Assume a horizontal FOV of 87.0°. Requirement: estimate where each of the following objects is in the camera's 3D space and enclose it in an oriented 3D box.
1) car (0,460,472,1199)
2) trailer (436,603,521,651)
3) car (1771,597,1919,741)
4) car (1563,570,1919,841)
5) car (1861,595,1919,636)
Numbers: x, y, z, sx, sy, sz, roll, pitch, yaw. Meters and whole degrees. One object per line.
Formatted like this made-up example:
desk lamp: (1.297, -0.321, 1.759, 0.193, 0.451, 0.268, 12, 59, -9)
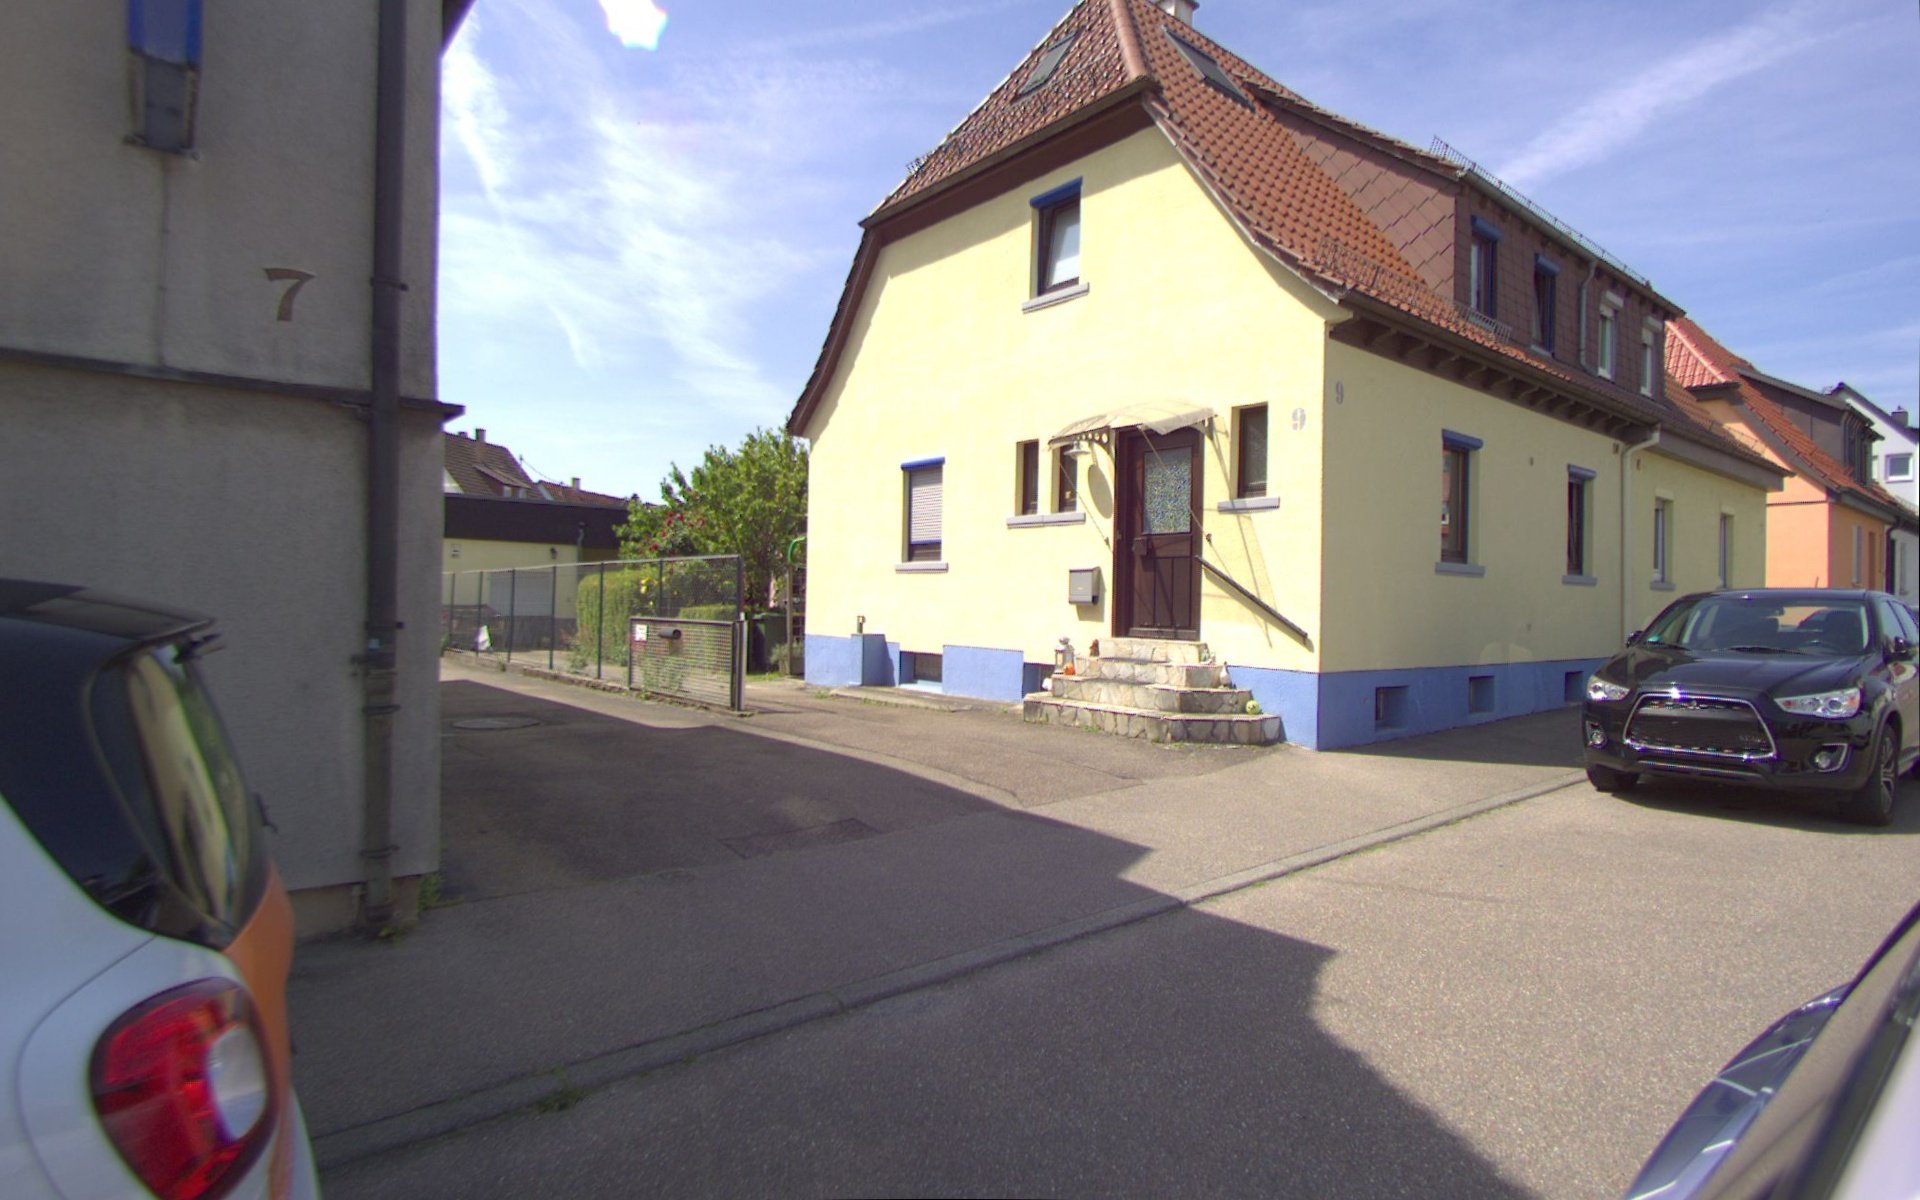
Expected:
car: (-2.238, 0.663, 0.851, 2.986, 1.578, 1.677, 0, 0, -40)
trailer: (-11.367, 0.620, 23.843, 1.293, 1.055, 2.169, 2, -1, -40)
car: (10.844, 0.700, 11.720, 3.688, 1.449, 1.613, 0, -1, -41)
car: (6.586, 0.636, 8.061, 4.176, 1.620, 1.732, 0, -1, -39)
car: (39.598, 0.618, 40.963, 1.811, 1.674, 4.311, 0, 0, -31)
